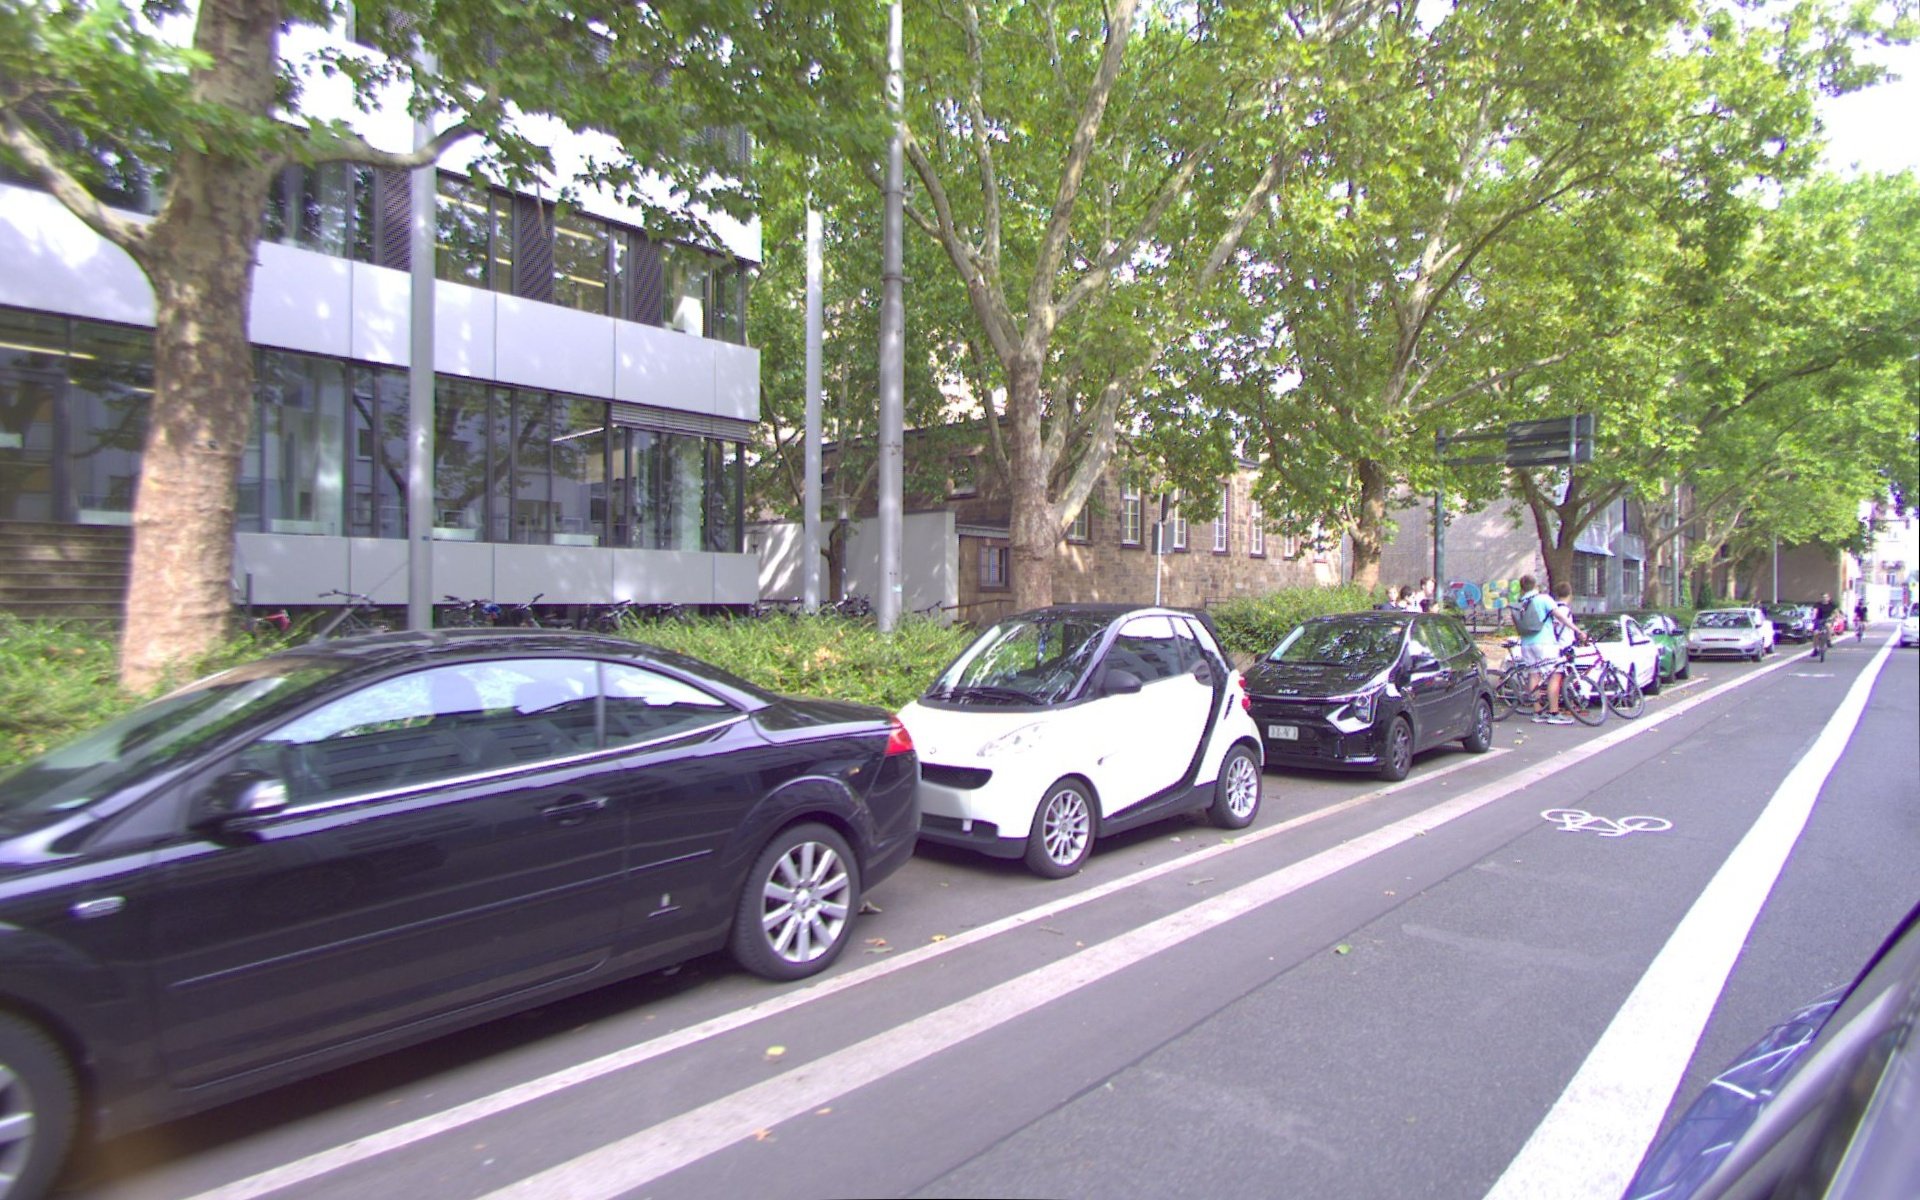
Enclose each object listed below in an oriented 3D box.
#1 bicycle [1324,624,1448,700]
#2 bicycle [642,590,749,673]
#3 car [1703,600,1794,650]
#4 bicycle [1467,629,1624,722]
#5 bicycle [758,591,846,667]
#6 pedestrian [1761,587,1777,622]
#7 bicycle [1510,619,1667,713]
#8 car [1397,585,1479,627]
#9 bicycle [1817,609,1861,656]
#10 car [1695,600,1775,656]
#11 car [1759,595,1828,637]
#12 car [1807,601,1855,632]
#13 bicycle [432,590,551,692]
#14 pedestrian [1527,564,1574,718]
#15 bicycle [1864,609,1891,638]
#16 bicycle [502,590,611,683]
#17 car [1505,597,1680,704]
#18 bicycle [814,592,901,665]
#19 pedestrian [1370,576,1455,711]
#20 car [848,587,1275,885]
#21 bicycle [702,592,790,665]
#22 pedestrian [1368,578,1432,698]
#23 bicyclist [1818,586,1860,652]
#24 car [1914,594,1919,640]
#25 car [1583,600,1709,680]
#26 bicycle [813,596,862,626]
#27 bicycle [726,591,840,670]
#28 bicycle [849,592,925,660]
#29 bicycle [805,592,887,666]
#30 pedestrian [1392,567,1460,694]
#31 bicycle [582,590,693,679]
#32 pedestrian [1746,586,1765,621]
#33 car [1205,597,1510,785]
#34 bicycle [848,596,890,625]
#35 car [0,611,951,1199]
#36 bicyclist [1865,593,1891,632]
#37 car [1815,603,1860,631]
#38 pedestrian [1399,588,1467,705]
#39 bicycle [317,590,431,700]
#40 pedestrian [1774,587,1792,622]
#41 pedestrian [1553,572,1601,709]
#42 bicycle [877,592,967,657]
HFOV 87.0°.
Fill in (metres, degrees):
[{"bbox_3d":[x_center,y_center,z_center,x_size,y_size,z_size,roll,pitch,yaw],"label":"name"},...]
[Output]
[{"bbox_3d":[6.727,0.957,16.029,1.760,1.146,0.457,-1,-1,34],"label":"bicycle"},{"bbox_3d":[-3.981,0.437,15.124,1.916,1.131,0.662,2,1,45],"label":"bicycle"},{"bbox_3d":[24.935,0.747,31.950,1.754,1.466,4.150,-2,-2,45],"label":"car"},{"bbox_3d":[7.615,0.949,13.192,1.728,1.119,0.545,-1,-1,34],"label":"bicycle"},{"bbox_3d":[-2.543,0.442,16.212,1.371,1.131,0.506,2,1,30],"label":"bicycle"},{"bbox_3d":[43.744,0.237,54.711,0.501,1.807,0.519,5,4,43],"label":"pedestrian"},{"bbox_3d":[8.626,0.880,13.972,1.778,1.233,0.548,-1,-1,28],"label":"bicycle"},{"bbox_3d":[18.396,0.264,38.867,1.668,1.468,4.230,0,-2,42],"label":"car"},{"bbox_3d":[23.482,0.851,27.032,0.761,1.184,1.918,-1,-1,45],"label":"bicycle"},{"bbox_3d":[21.956,0.762,28.616,1.640,1.466,3.827,-2,-1,40],"label":"car"},{"bbox_3d":[34.144,0.637,41.431,1.920,1.642,4.412,-2,-2,42],"label":"car"},{"bbox_3d":[44.947,0.817,52.189,1.598,1.524,4.369,-2,-2,44],"label":"car"},{"bbox_3d":[-5.868,0.462,12.622,2.080,1.131,0.662,2,1,45],"label":"bicycle"},{"bbox_3d":[7.824,0.525,13.395,0.473,1.959,0.736,-1,-1,33],"label":"pedestrian"},{"bbox_3d":[38.594,0.956,42.566,0.761,1.184,1.918,-1,-1,45],"label":"bicycle"},{"bbox_3d":[-5.480,0.455,13.686,1.916,1.131,0.662,2,1,45],"label":"bicycle"},{"bbox_3d":[10.563,0.749,16.760,1.679,1.535,4.475,-3,-2,42],"label":"car"},{"bbox_3d":[-1.716,0.445,16.850,1.535,1.131,0.462,2,1,38],"label":"bicycle"},{"bbox_3d":[6.449,0.596,14.434,0.871,1.840,0.767,-1,-1,44],"label":"pedestrian"},{"bbox_3d":[0.740,0.723,6.773,2.555,1.563,1.537,0,-1,-43],"label":"car"},{"bbox_3d":[-3.473,0.437,16.509,0.490,1.131,1.417,2,1,39],"label":"bicycle"},{"bbox_3d":[7.076,0.595,16.265,0.721,1.879,0.692,-1,-1,44],"label":"pedestrian"},{"bbox_3d":[23.534,0.489,27.090,0.762,1.730,0.903,-1,-1,45],"label":"bicyclist"},{"bbox_3d":[35.340,0.591,36.002,1.995,1.585,4.479,0,0,44],"label":"car"},{"bbox_3d":[13.986,0.762,20.564,1.586,1.468,3.748,-3,-2,42],"label":"car"},{"bbox_3d":[-4.003,0.346,33.113,1.596,0.889,0.478,-3,2,-40],"label":"bicycle"},{"bbox_3d":[-2.732,0.441,15.596,1.682,1.131,0.617,2,1,26],"label":"bicycle"},{"bbox_3d":[-1.305,0.437,17.948,1.444,1.131,0.461,2,1,42],"label":"bicycle"},{"bbox_3d":[-1.856,0.449,16.372,1.375,1.131,0.462,2,1,38],"label":"bicycle"},{"bbox_3d":[7.676,0.492,16.657,0.793,2.023,0.738,-1,-1,44],"label":"pedestrian"},{"bbox_3d":[-4.537,0.445,14.165,1.916,1.131,0.662,2,1,45],"label":"bicycle"},{"bbox_3d":[43.526,0.190,55.378,0.642,1.855,0.635,5,4,43],"label":"pedestrian"},{"bbox_3d":[4.052,0.743,10.030,1.528,1.521,3.601,-2,-1,44],"label":"car"},{"bbox_3d":[-2.946,0.327,32.584,0.500,0.889,1.622,-2,2,-40],"label":"bicycle"},{"bbox_3d":[-2.117,0.792,3.637,1.696,1.443,4.355,-2,-1,41],"label":"car"},{"bbox_3d":[38.605,0.529,42.571,0.806,1.620,0.747,1,-1,-45],"label":"bicyclist"},{"bbox_3d":[48.566,0.911,55.971,1.598,1.465,4.039,-2,-2,44],"label":"car"},{"bbox_3d":[6.995,0.664,14.970,0.721,1.679,0.644,-1,-1,44],"label":"pedestrian"},{"bbox_3d":[-6.798,0.473,11.692,1.916,1.131,0.662,2,1,45],"label":"bicycle"},{"bbox_3d":[44.060,0.244,54.189,0.591,1.807,0.469,5,4,44],"label":"pedestrian"},{"bbox_3d":[8.694,0.560,14.279,0.517,1.869,0.737,-1,-1,30],"label":"pedestrian"},{"bbox_3d":[-0.717,0.431,18.784,1.671,1.131,0.596,2,1,39],"label":"bicycle"}]
